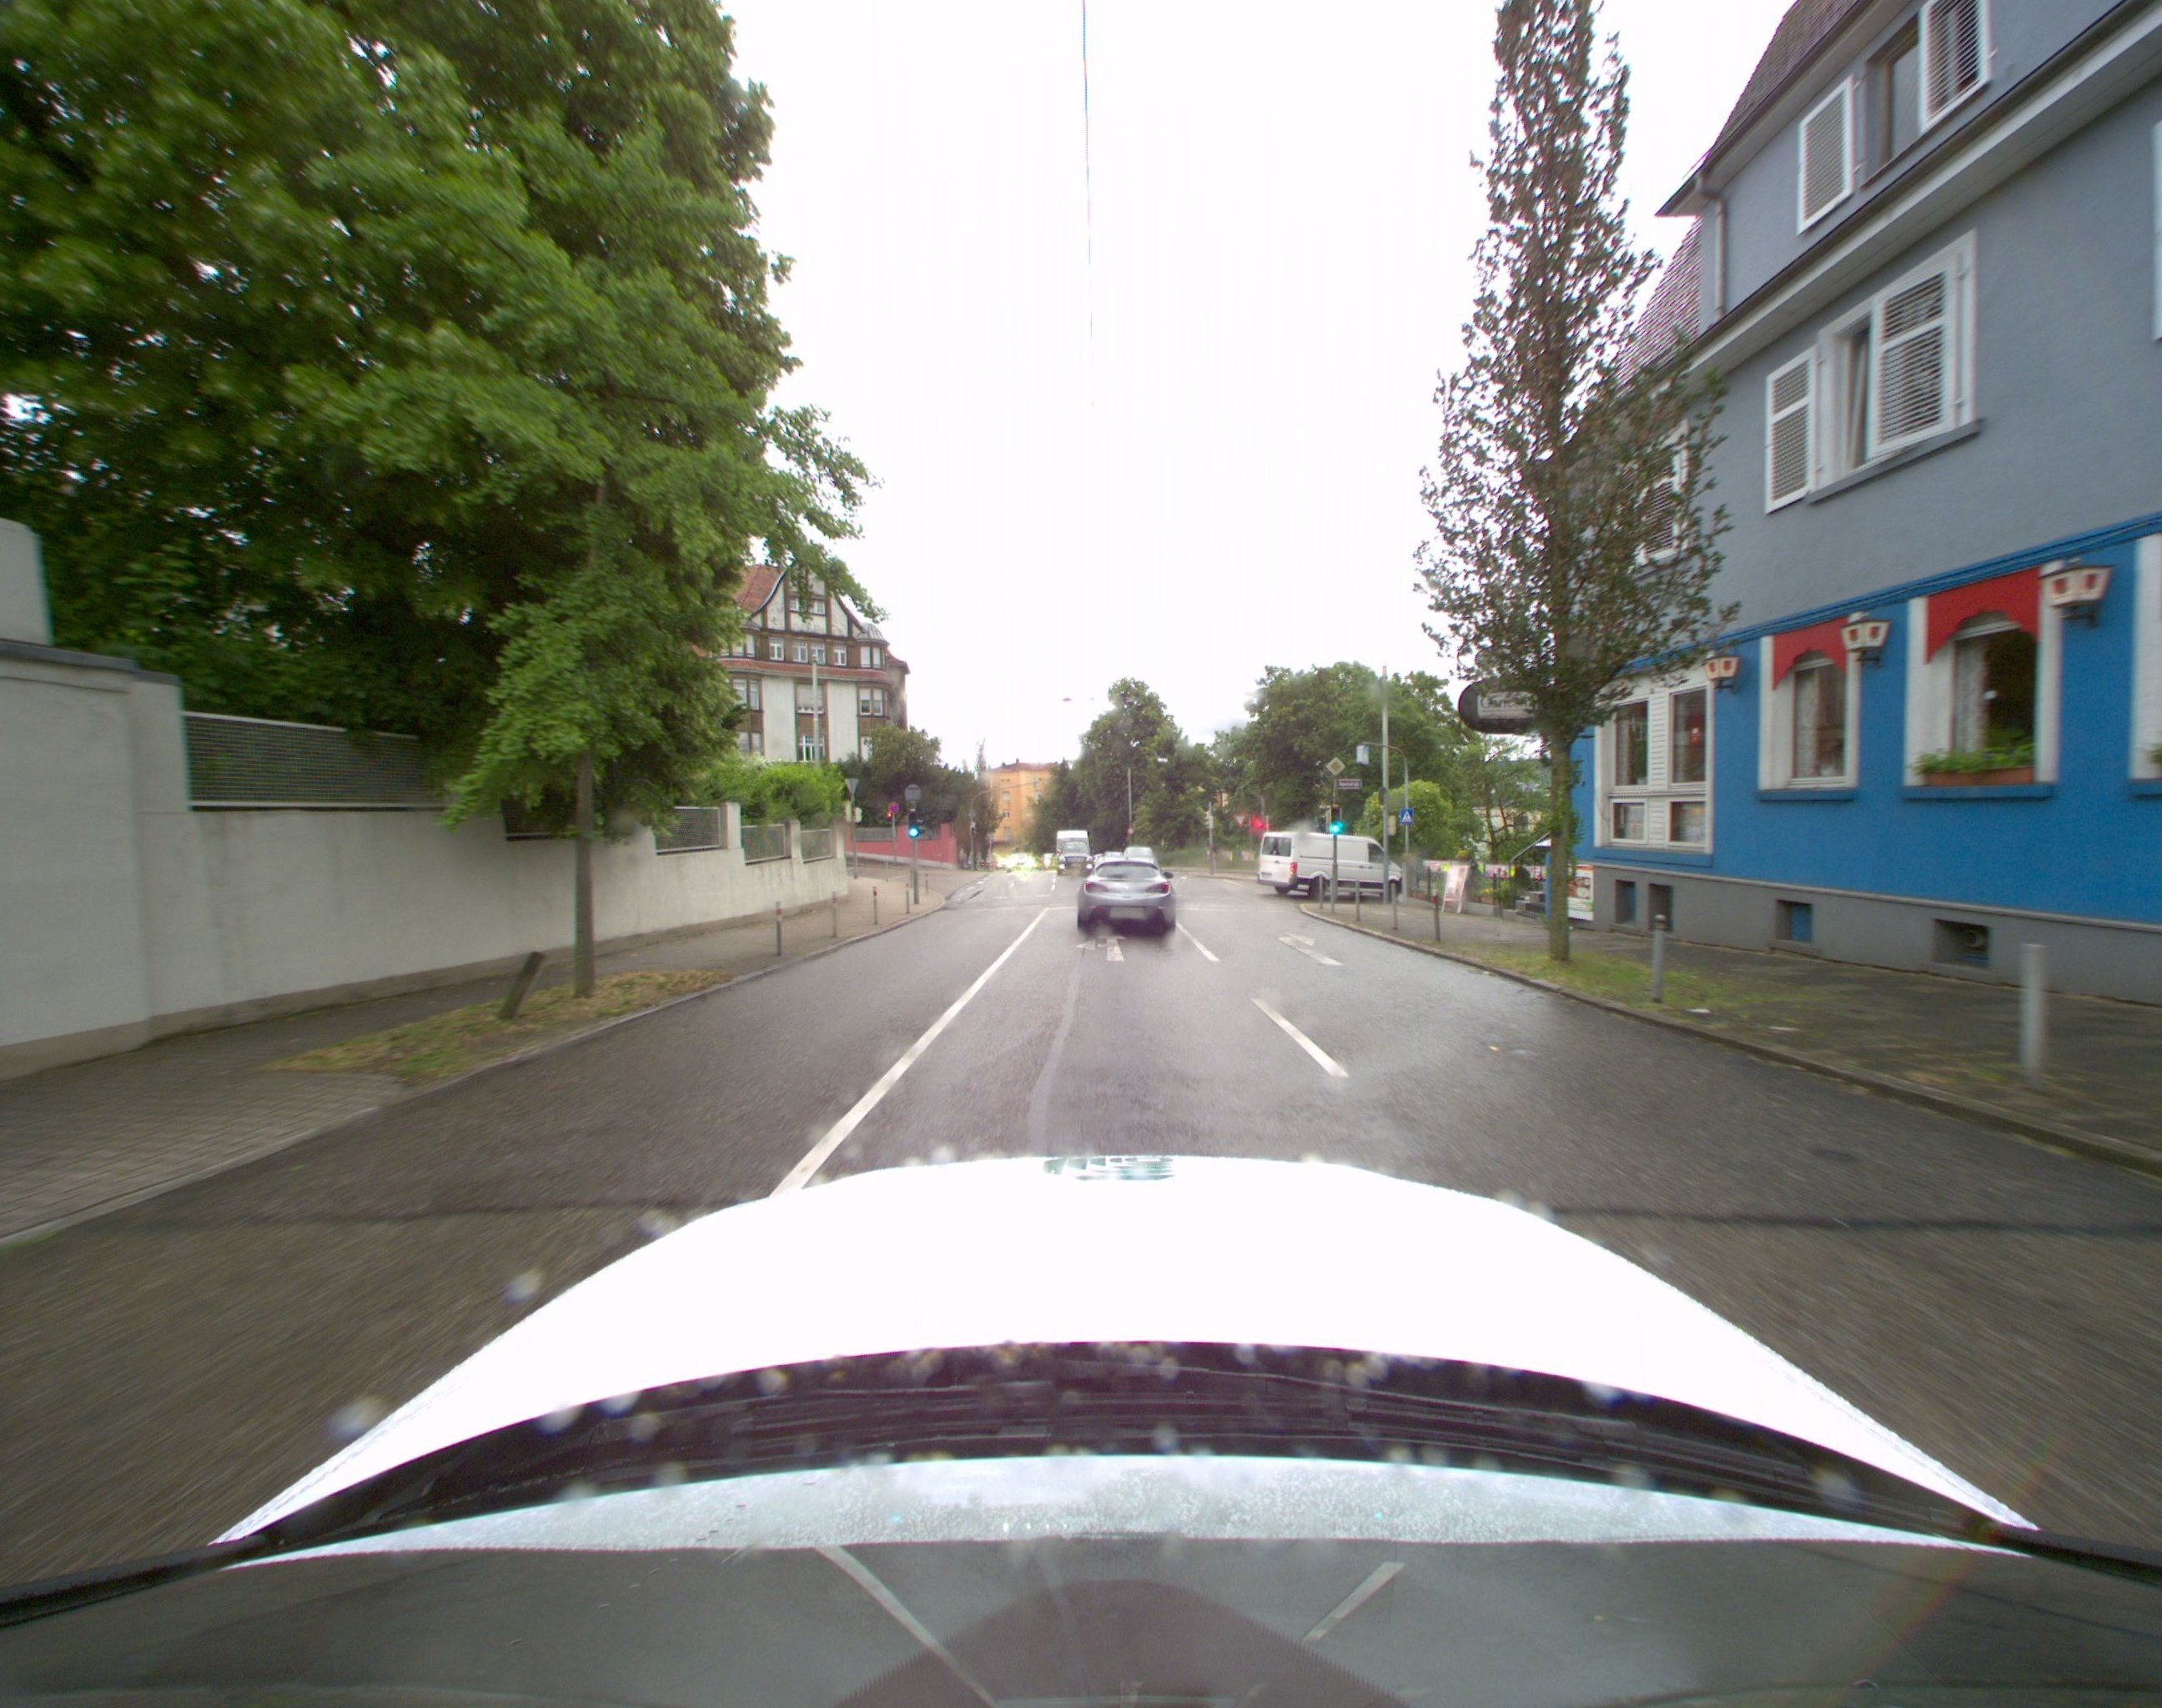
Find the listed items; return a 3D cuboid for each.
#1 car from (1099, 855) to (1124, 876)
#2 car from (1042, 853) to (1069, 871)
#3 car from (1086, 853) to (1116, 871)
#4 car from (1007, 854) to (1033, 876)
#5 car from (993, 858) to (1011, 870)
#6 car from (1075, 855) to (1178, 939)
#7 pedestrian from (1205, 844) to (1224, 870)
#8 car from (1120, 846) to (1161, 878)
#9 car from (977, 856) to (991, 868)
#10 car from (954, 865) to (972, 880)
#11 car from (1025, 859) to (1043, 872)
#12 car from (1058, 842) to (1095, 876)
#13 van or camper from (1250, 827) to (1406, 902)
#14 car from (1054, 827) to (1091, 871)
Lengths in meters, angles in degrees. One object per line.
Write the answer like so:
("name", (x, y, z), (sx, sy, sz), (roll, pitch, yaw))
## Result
("car", (2.224, 0.833, 60.300), (1.381, 1.411, 3.450), (-2, 0, -5))
("car", (-2.285, 0.746, 70.750), (1.774, 1.497, 4.247), (0, -1, -10))
("car", (1.946, 0.825, 81.572), (1.818, 1.495, 3.980), (-7, 0, -14))
("car", (-4.723, 0.814, 63.499), (1.849, 1.486, 5.360), (-2, 1, -4))
("car", (-10.096, 1.294, 104.414), (1.846, 1.584, 4.262), (1, -1, -11))
("car", (0.859, 0.765, 16.503), (1.808, 1.429, 4.001), (-1, 0, 1))
("pedestrian", (8.613, 0.195, 52.471), (0.767, 1.605, 0.961), (-4, 0, -14))
("car", (2.889, 0.424, 40.221), (1.770, 1.430, 3.785), (-2, -2, 1))
("car", (-15.662, 1.315, 131.620), (1.785, 1.855, 3.979), (-1, -2, -15))
("car", (-13.178, 2.054, 90.586), (1.816, 1.612, 3.984), (0, -2, -11))
("car", (-5.845, 1.434, 101.205), (1.642, 1.536, 3.700), (-1, -1, -13))
("car", (-0.266, 0.207, 41.862), (1.816, 1.652, 4.344), (0, 1, -1))
("van or camper", (9.088, 0.403, 29.835), (5.429, 2.325, 2.093), (3, 3, -28))
("car", (-0.575, -0.270, 50.734), (2.112, 2.546, 5.535), (-2, -1, -2))
